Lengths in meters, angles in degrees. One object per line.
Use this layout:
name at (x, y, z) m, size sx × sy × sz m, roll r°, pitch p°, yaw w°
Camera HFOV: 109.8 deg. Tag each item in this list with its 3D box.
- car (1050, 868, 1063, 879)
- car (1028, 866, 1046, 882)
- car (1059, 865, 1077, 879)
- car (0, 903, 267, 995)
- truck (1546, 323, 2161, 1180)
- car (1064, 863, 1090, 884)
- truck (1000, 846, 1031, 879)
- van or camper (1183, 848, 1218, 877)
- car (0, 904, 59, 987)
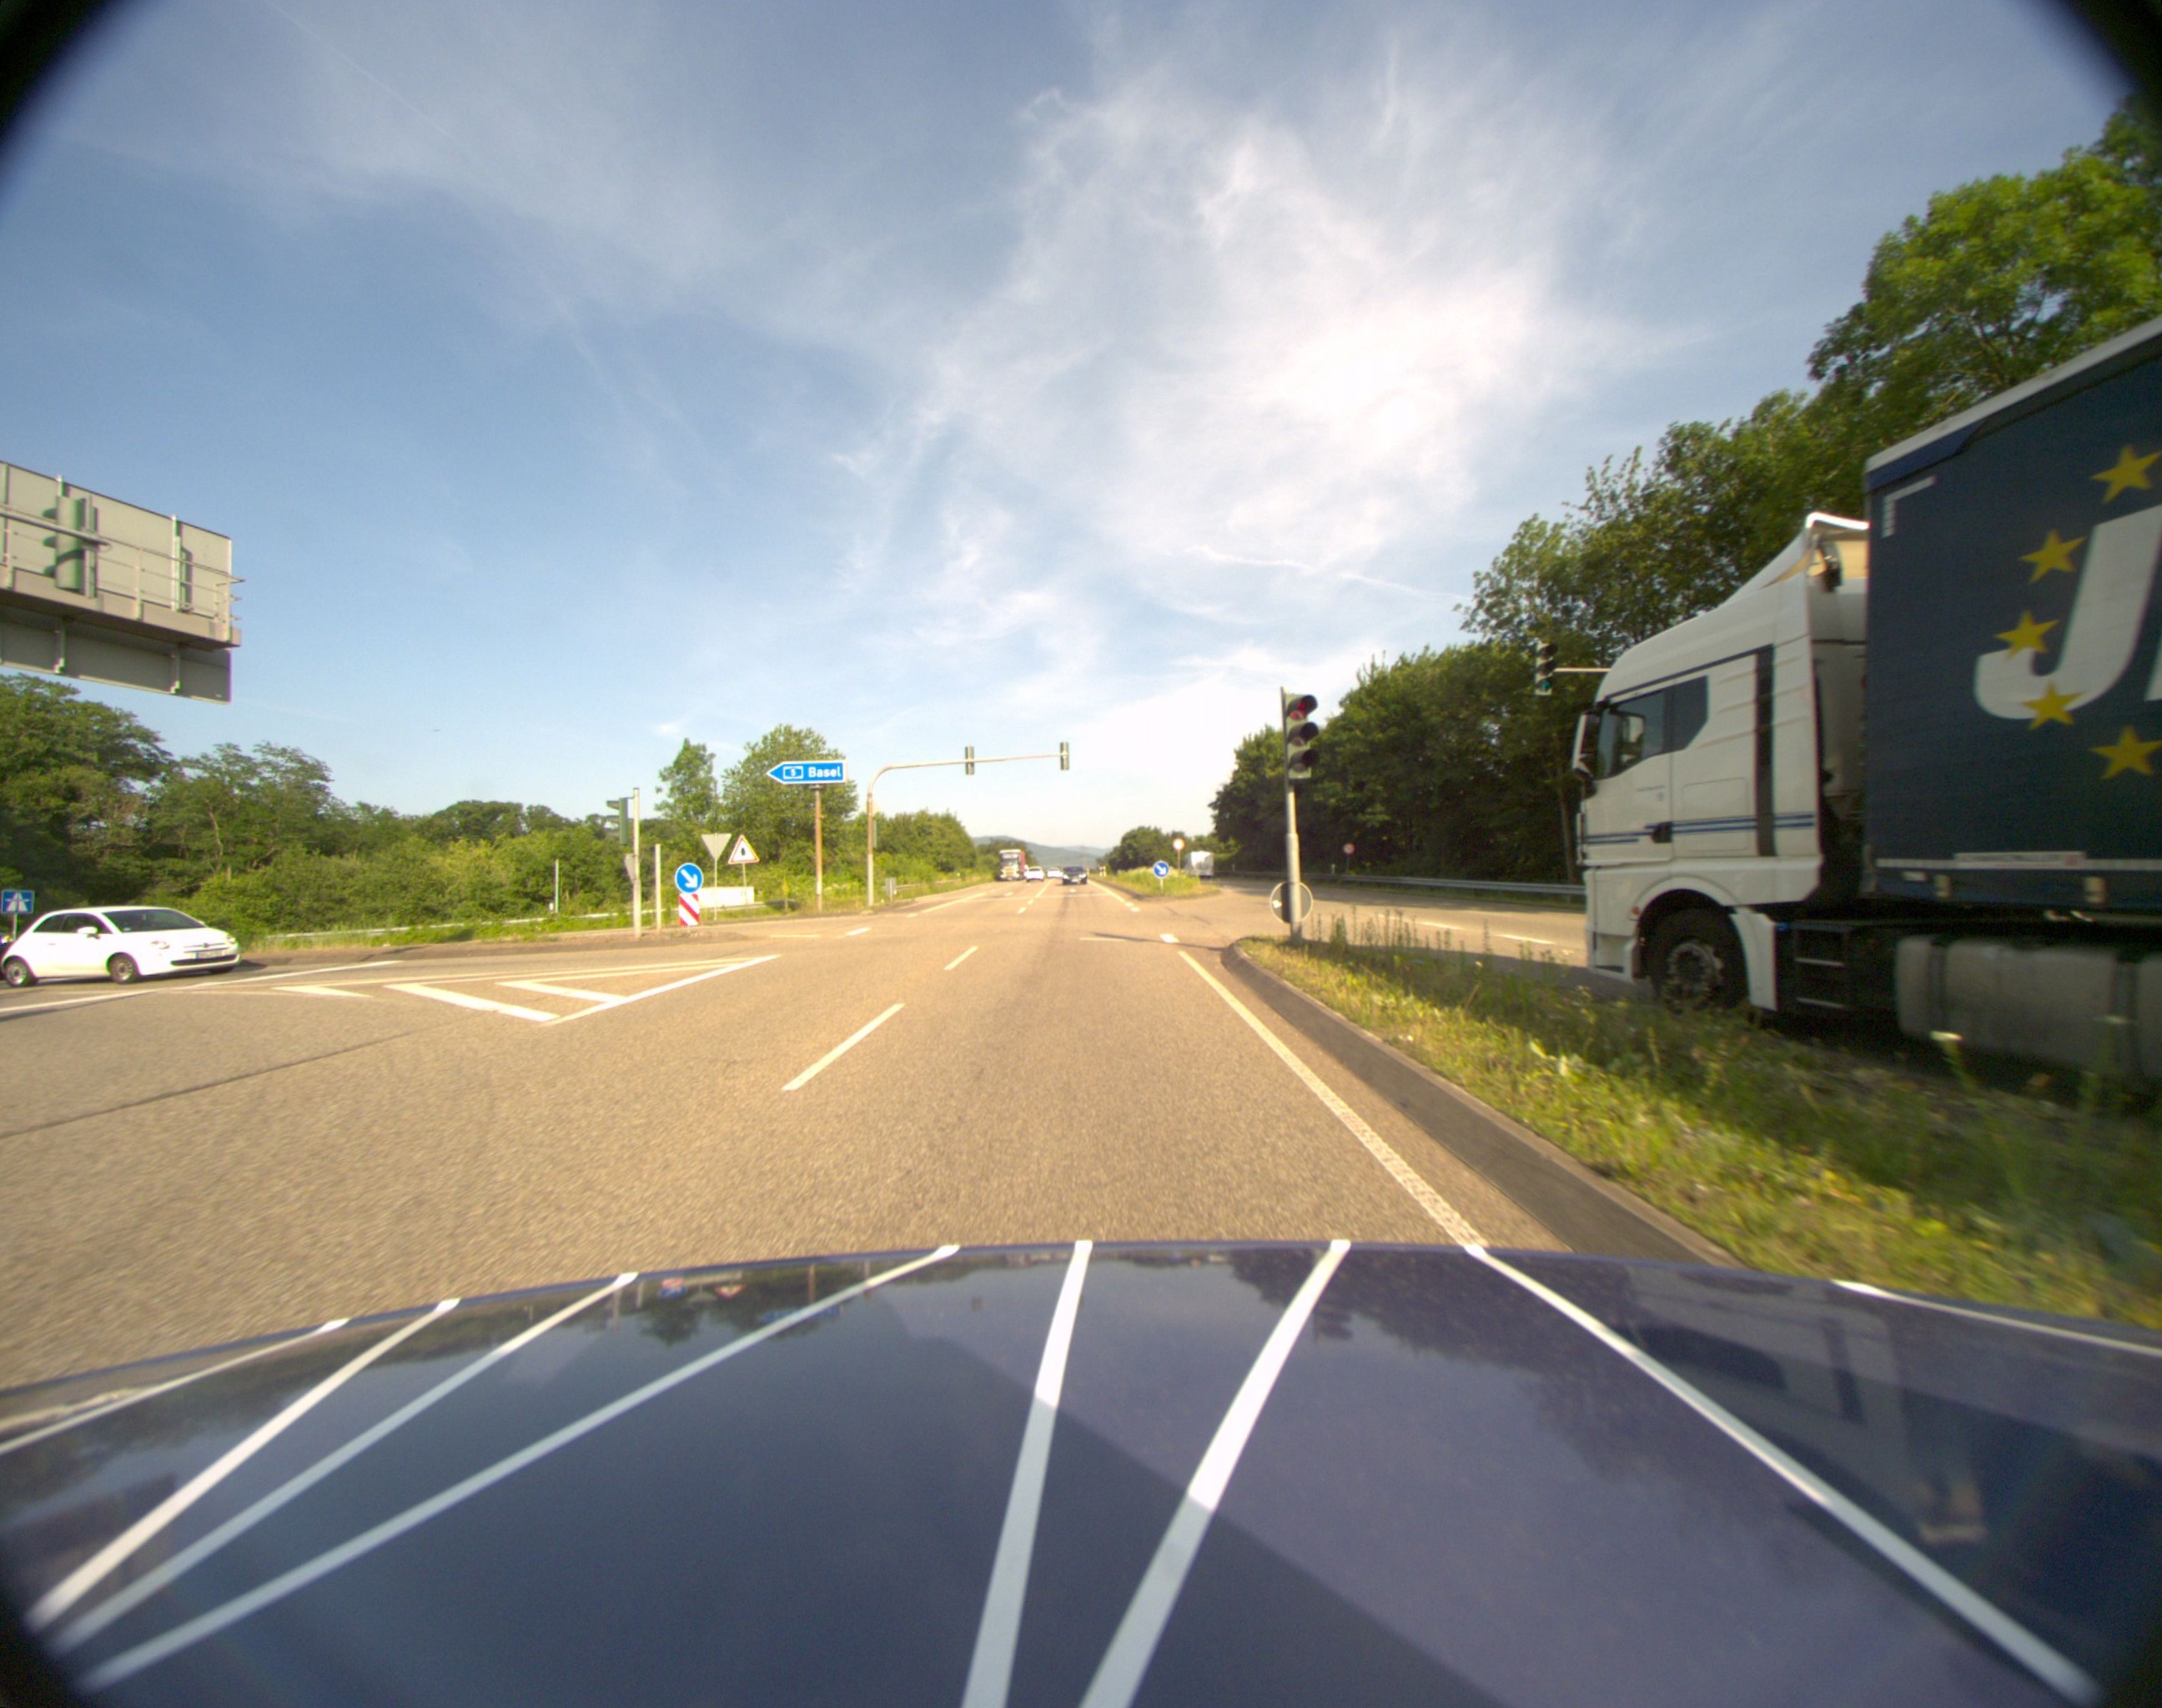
car at (-4.067, 3.244, 125.852) m, size 1.999 × 1.632 × 3.999 m, roll -3°, pitch 0°, yaw -4°
car at (-4.618, 2.101, 80.112) m, size 1.875 × 1.625 × 4.833 m, roll -1°, pitch -1°, yaw -3°
car at (-1.626, 2.194, 93.531) m, size 1.999 × 1.632 × 4.000 m, roll -3°, pitch 0°, yaw -2°
car at (-18.898, 1.849, 15.093) m, size 3.606 × 1.494 × 1.809 m, roll -3°, pitch -1°, yaw 4°
truck at (6.418, -0.466, 4.578) m, size 2.899 × 3.973 × 6.721 m, roll 0°, pitch -1°, yaw -3°
car at (-0.371, 1.478, 58.622) m, size 1.862 × 1.452 × 4.569 m, roll -3°, pitch -1°, yaw -2°
truck at (-8.738, 1.156, 103.556) m, size 3.197 × 3.995 × 14.563 m, roll -3°, pitch -1°, yaw -2°
van or camper at (11.969, 0.856, 76.773) m, size 2.419 × 2.695 × 6.437 m, roll 1°, pitch 0°, yaw -1°
car at (-24.810, 2.039, 16.033) m, size 4.119 × 1.698 × 1.870 m, roll -3°, pitch -1°, yaw 4°
